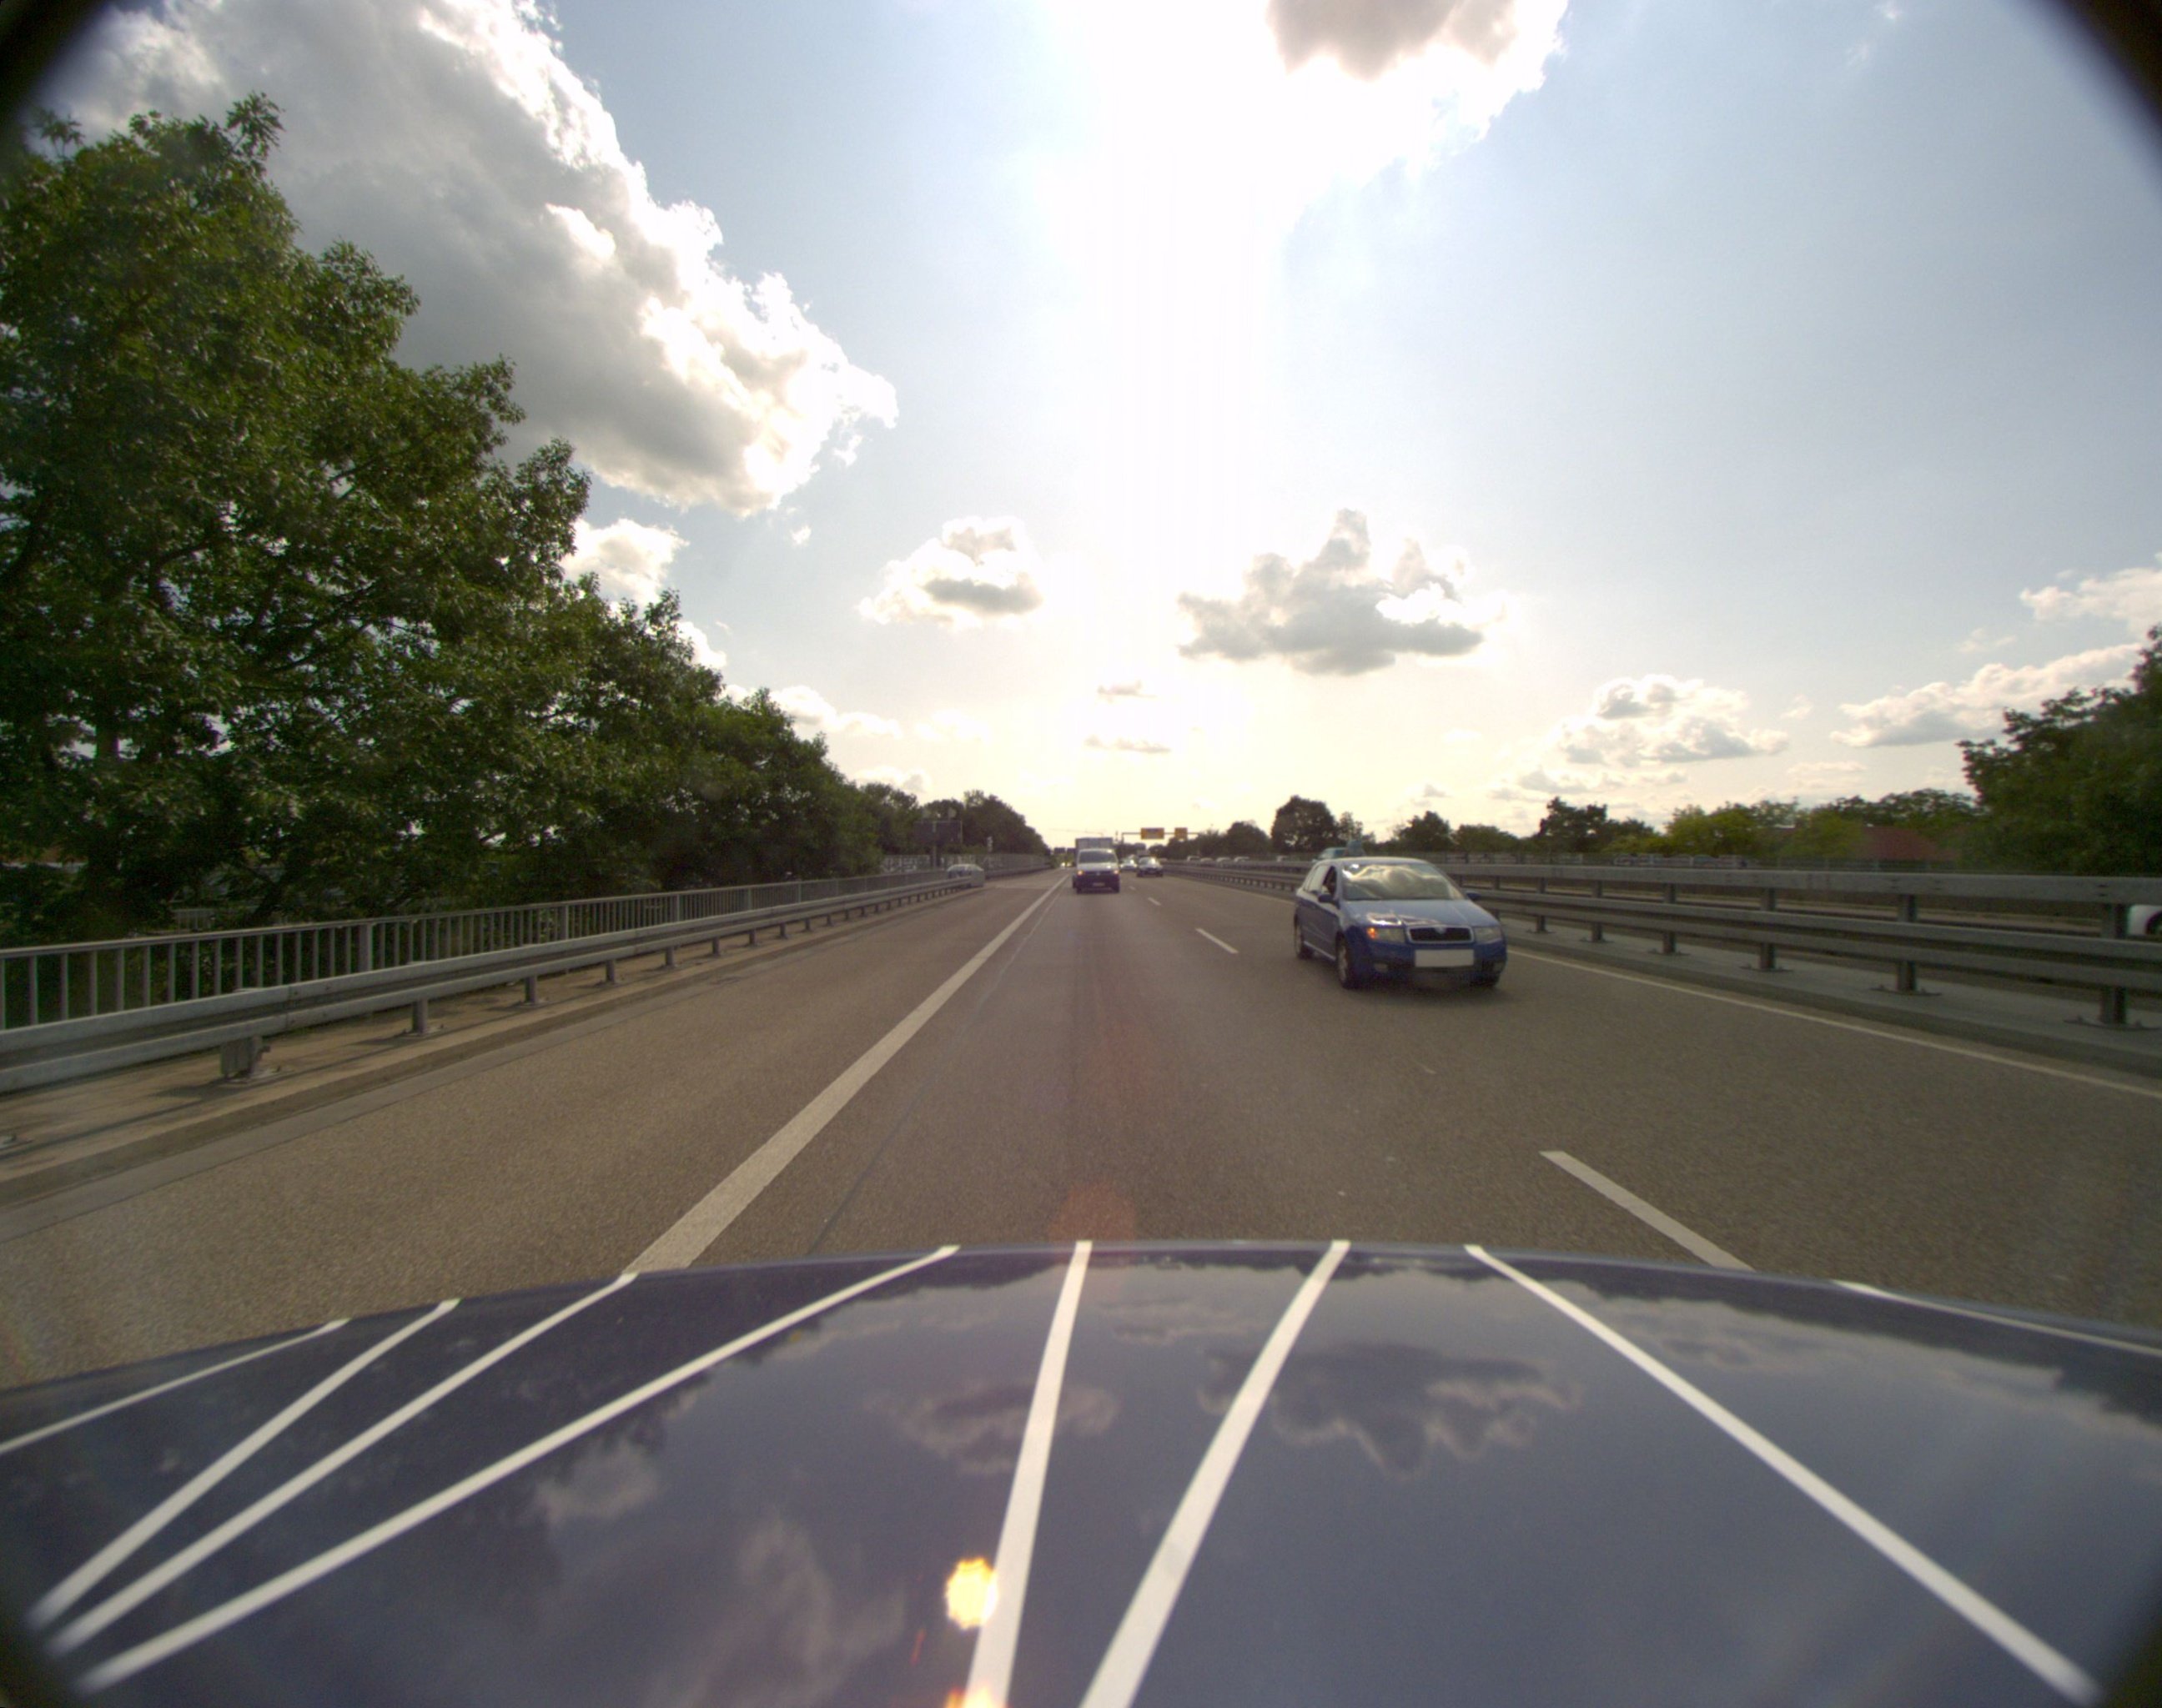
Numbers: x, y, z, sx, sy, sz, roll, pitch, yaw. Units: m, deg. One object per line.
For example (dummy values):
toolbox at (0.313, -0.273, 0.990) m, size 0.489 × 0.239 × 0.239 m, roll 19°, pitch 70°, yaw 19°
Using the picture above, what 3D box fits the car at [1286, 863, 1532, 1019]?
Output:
car at (3.685, 0.879, 9.256) m, size 1.625 × 1.403 × 3.772 m, roll -2°, pitch 0°, yaw 5°

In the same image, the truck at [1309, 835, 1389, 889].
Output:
truck at (12.097, 0.331, 34.655) m, size 1.877 × 2.174 × 5.188 m, roll -2°, pitch 0°, yaw 2°

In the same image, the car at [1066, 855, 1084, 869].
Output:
car at (-0.678, 0.904, 87.999) m, size 1.802 × 1.586 × 3.985 m, roll -3°, pitch 0°, yaw 1°

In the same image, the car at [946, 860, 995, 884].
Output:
car at (-7.330, 1.174, 50.814) m, size 1.766 × 1.403 × 3.776 m, roll -2°, pitch 0°, yaw 17°

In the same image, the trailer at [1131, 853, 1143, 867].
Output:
trailer at (16.222, 1.681, 219.964) m, size 2.691 × 3.648 × 11.028 m, roll -2°, pitch 0°, yaw 1°

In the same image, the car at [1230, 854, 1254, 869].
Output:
car at (16.548, 0.789, 78.072) m, size 1.602 × 1.466 × 3.630 m, roll 1°, pitch 0°, yaw -2°

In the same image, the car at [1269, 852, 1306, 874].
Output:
car at (16.437, 0.662, 60.623) m, size 1.826 × 1.629 × 4.000 m, roll -2°, pitch 0°, yaw 0°

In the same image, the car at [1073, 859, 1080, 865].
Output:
car at (-1.356, 2.408, 232.453) m, size 1.895 × 1.518 × 4.465 m, roll -2°, pitch 0°, yaw 0°

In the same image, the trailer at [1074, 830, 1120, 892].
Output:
trailer at (0.732, 0.310, 37.609) m, size 1.999 × 2.723 × 5.966 m, roll -2°, pitch 0°, yaw 0°

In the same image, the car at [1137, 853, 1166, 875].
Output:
car at (5.267, 0.710, 57.288) m, size 1.779 × 1.518 × 4.465 m, roll -2°, pitch 0°, yaw 0°

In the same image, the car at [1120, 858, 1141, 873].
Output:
car at (5.269, 1.190, 81.165) m, size 1.895 × 1.518 × 4.465 m, roll -2°, pitch 0°, yaw 0°

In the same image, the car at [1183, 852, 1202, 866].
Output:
car at (17.046, 0.791, 116.493) m, size 1.965 × 1.913 × 5.191 m, roll -3°, pitch -1°, yaw -2°

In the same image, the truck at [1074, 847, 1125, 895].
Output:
truck at (0.749, 0.702, 32.601) m, size 2.008 × 1.905 × 4.000 m, roll -1°, pitch 0°, yaw 0°

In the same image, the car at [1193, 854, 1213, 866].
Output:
car at (15.698, 0.770, 97.824) m, size 1.789 × 1.381 × 4.047 m, roll -2°, pitch -1°, yaw -2°

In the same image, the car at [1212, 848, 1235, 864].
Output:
car at (16.412, 0.234, 87.793) m, size 1.586 × 1.700 × 4.411 m, roll -2°, pitch -1°, yaw -2°

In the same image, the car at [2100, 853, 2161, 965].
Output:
car at (16.430, 0.780, 9.603) m, size 1.833 × 1.572 × 3.954 m, roll -2°, pitch 0°, yaw 2°

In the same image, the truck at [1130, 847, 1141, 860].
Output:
truck at (16.265, -0.053, 225.897) m, size 2.655 × 3.760 × 6.232 m, roll -2°, pitch 0°, yaw 0°
